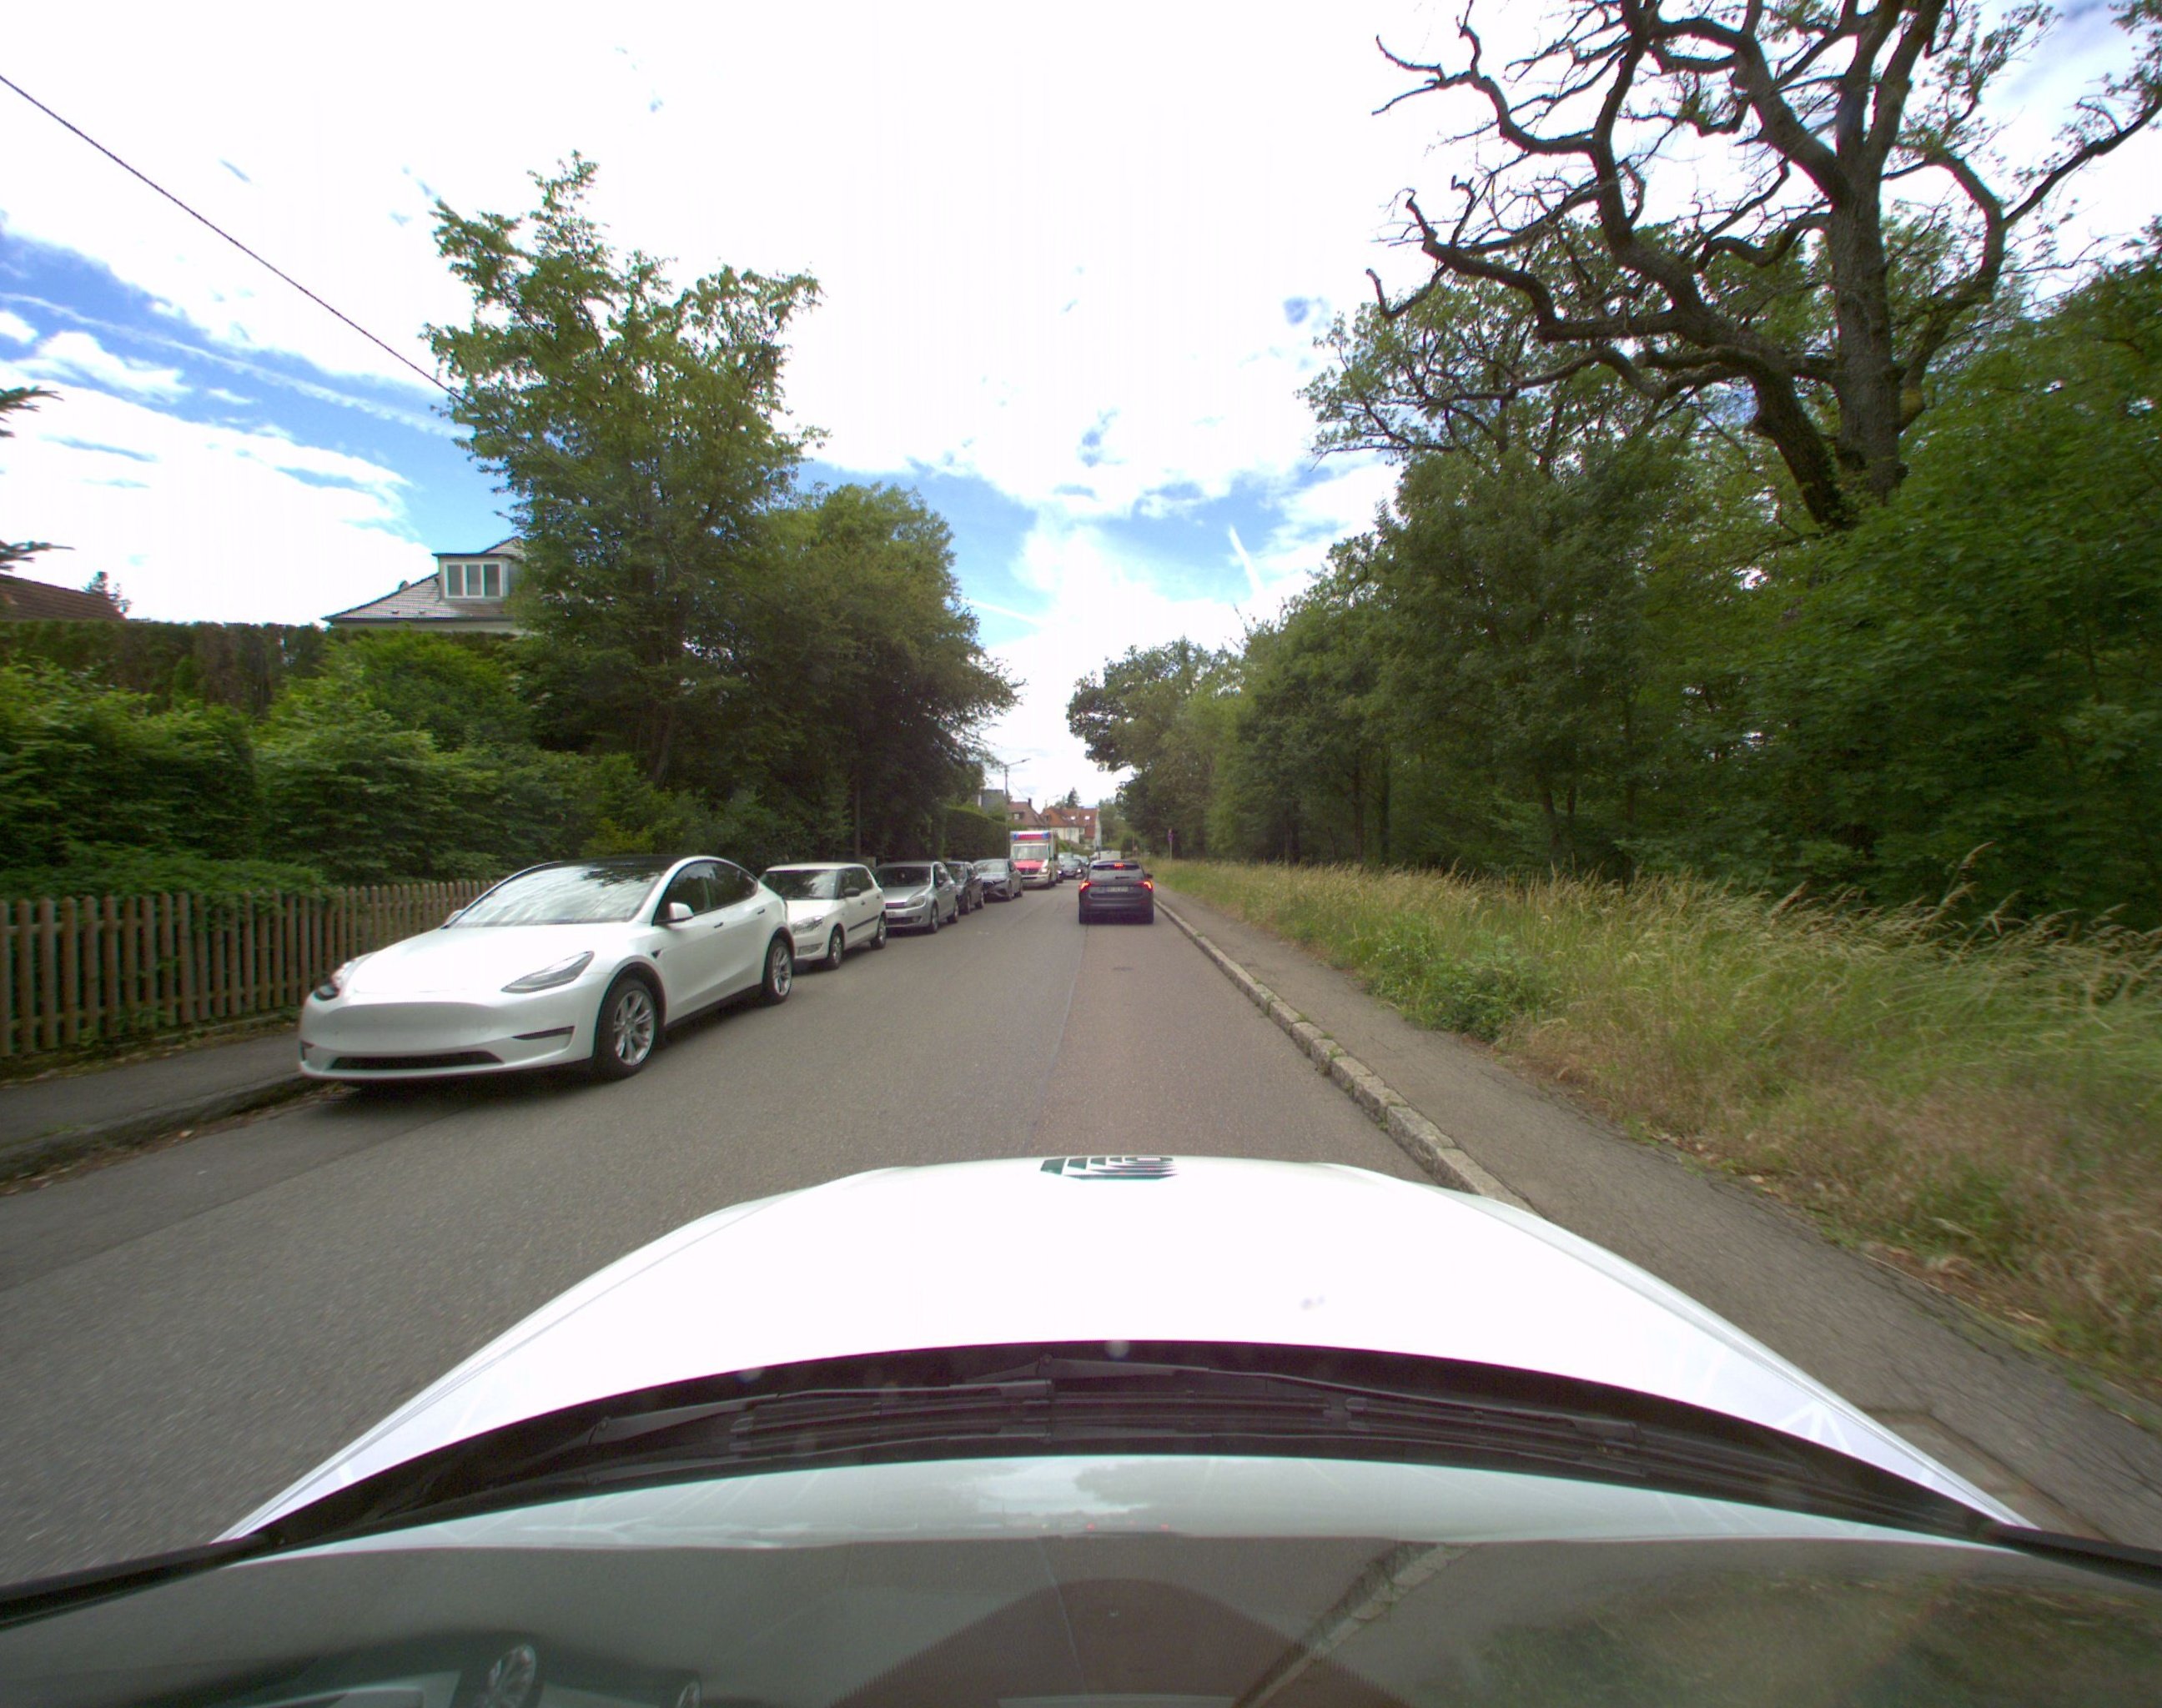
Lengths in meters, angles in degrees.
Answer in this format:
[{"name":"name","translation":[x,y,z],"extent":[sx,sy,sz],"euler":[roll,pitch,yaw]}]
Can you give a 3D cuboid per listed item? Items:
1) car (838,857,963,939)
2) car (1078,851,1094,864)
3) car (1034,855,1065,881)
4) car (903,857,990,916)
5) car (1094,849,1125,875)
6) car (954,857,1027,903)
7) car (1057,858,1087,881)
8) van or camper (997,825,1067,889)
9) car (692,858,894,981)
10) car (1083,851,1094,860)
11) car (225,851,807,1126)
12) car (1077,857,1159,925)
[{"name":"car","translation":[-3.761,0.851,17.654],"extent":[1.714,1.505,4.008],"euler":[-2,0,0]},{"name":"car","translation":[0.642,0.394,97.786],"extent":[1.856,1.414,4.593],"euler":[1,0,1]},{"name":"car","translation":[-1.848,0.830,48.924],"extent":[1.758,1.446,4.471],"euler":[-1,0,-2]},{"name":"car","translation":[-3.782,0.863,23.519],"extent":[1.714,1.505,4.061],"euler":[-2,0,1]},{"name":"car","translation":[2.117,0.585,62.149],"extent":[2.066,1.922,4.919],"euler":[0,0,-2]},{"name":"car","translation":[-3.243,0.891,30.105],"extent":[1.790,1.505,4.867],"euler":[-2,0,3]},{"name":"car","translation":[-0.570,1.035,55.899],"extent":[1.756,1.446,4.477],"euler":[-1,0,3]},{"name":"van or camper","translation":[-2.315,0.126,40.849],"extent":[2.445,2.895,7.176],"euler":[-1,0,4]},{"name":"car","translation":[-4.190,0.855,12.522],"extent":[1.715,1.505,3.816],"euler":[-2,0,-1]},{"name":"car","translation":[1.319,0.261,143.141],"extent":[1.827,1.597,4.325],"euler":[0,1,1]},{"name":"car","translation":[-4.161,0.801,7.197],"extent":[1.911,1.562,4.602],"euler":[-2,0,-1]},{"name":"car","translation":[0.803,0.816,20.061],"extent":[1.723,1.439,4.321],"euler":[0,0,-1]}]
